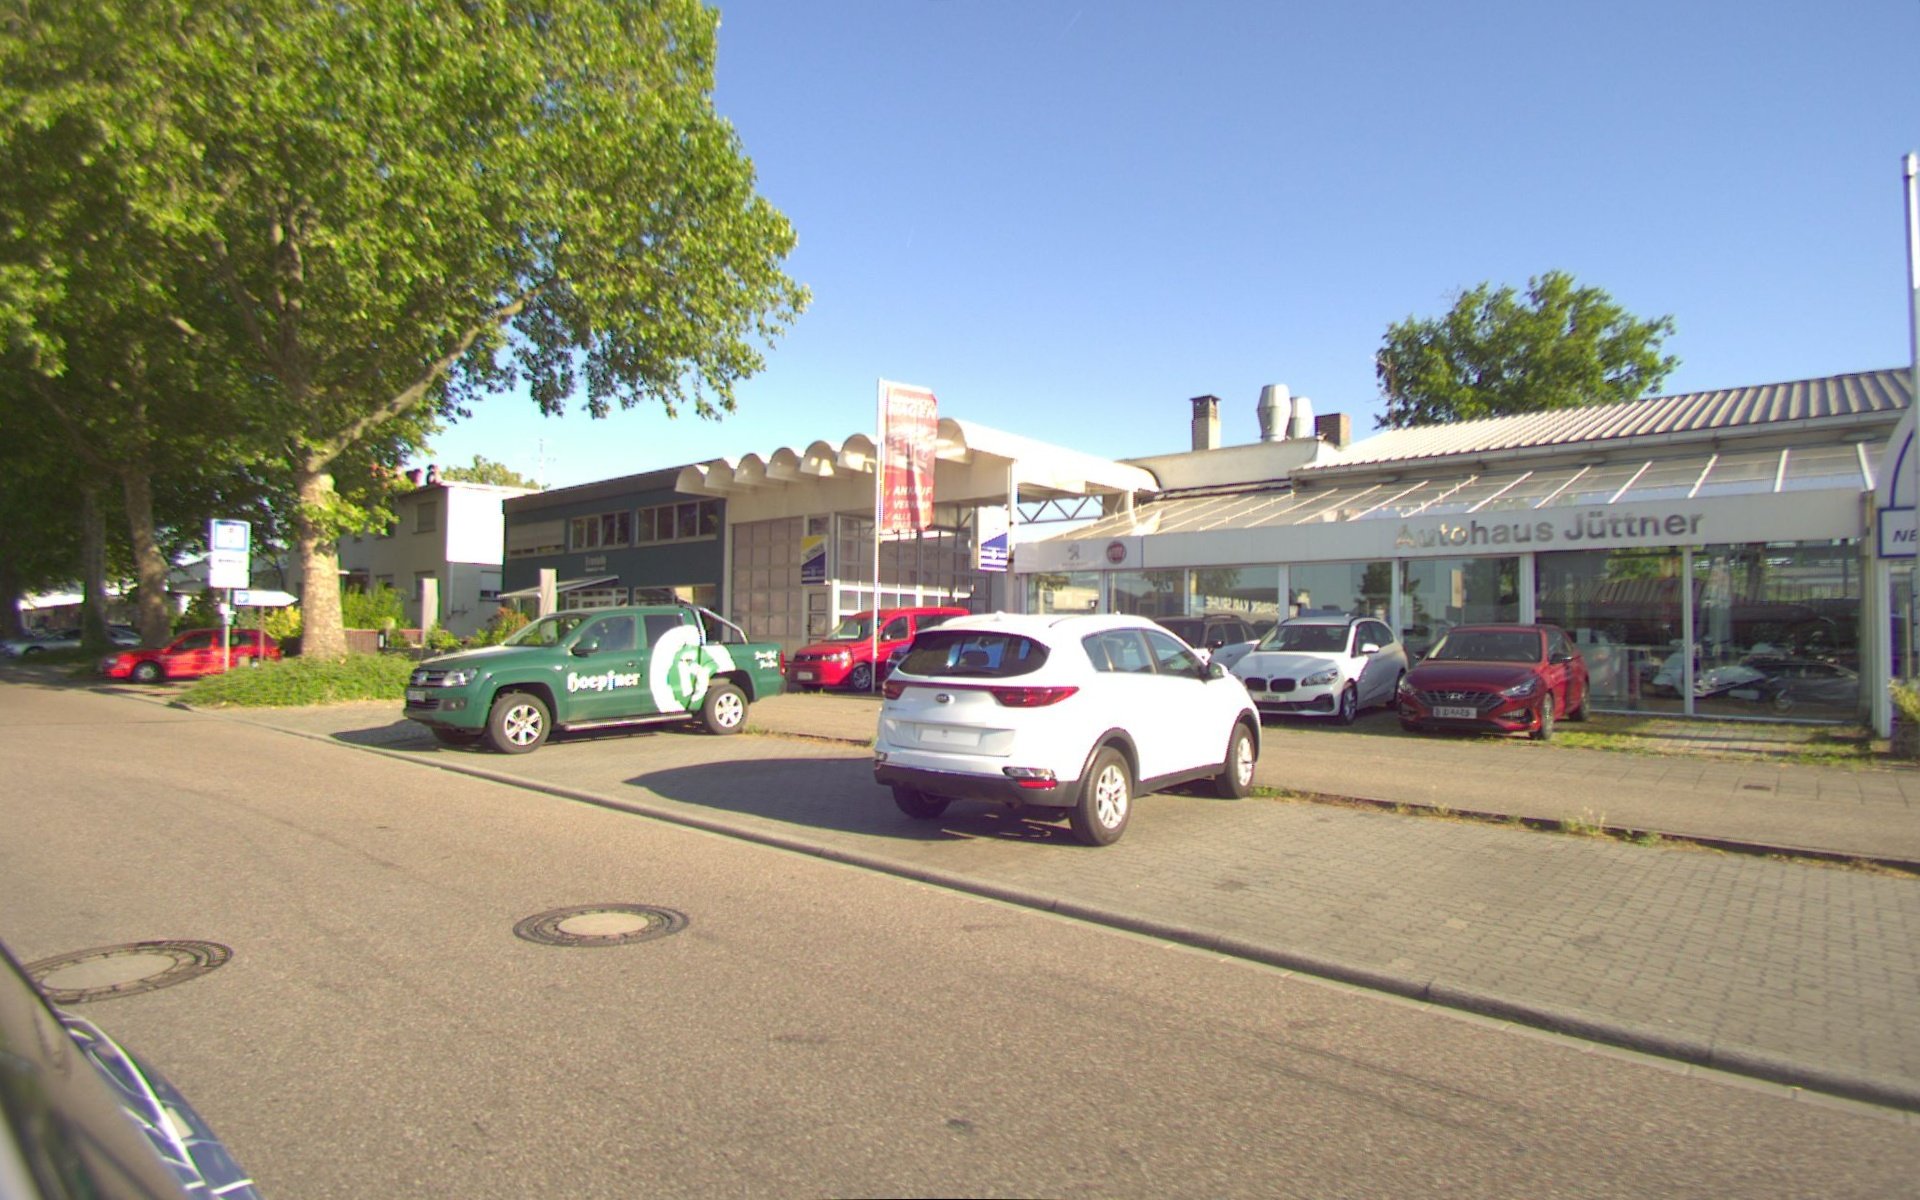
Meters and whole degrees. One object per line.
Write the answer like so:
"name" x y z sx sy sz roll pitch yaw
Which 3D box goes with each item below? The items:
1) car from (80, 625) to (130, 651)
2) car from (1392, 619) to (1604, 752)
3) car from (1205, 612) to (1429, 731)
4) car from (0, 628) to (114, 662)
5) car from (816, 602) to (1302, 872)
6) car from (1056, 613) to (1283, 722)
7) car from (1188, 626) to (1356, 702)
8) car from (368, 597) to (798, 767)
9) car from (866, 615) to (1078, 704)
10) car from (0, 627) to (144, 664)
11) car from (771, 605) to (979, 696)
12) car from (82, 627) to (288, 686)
"car" -54.773 2.434 64.820 4.273 1.588 1.972 -1 -2 43
"car" 7.730 1.061 14.326 1.834 1.565 4.419 -1 -1 39
"car" 5.803 1.011 16.089 1.926 1.604 4.615 -1 -1 39
"car" -41.099 2.019 45.561 1.998 1.433 4.311 -2 -3 38
"car" 1.082 0.887 8.622 2.199 1.668 4.261 -1 -1 38
"car" 3.824 1.072 17.828 1.998 1.655 4.671 -1 -1 39
"car" 7.115 1.468 22.748 1.998 1.527 4.698 -1 -5 39
"car" -4.965 0.966 14.057 2.200 1.913 5.206 -1 -1 40
"car" 0.375 1.137 21.179 1.998 1.646 4.666 -1 -1 39
"car" -36.594 1.859 41.501 1.999 1.433 4.552 -3 -4 40
"car" -1.803 1.071 22.857 1.998 1.833 4.699 -1 -1 39
"car" -21.582 1.515 28.308 1.999 1.457 4.252 -1 -1 40
